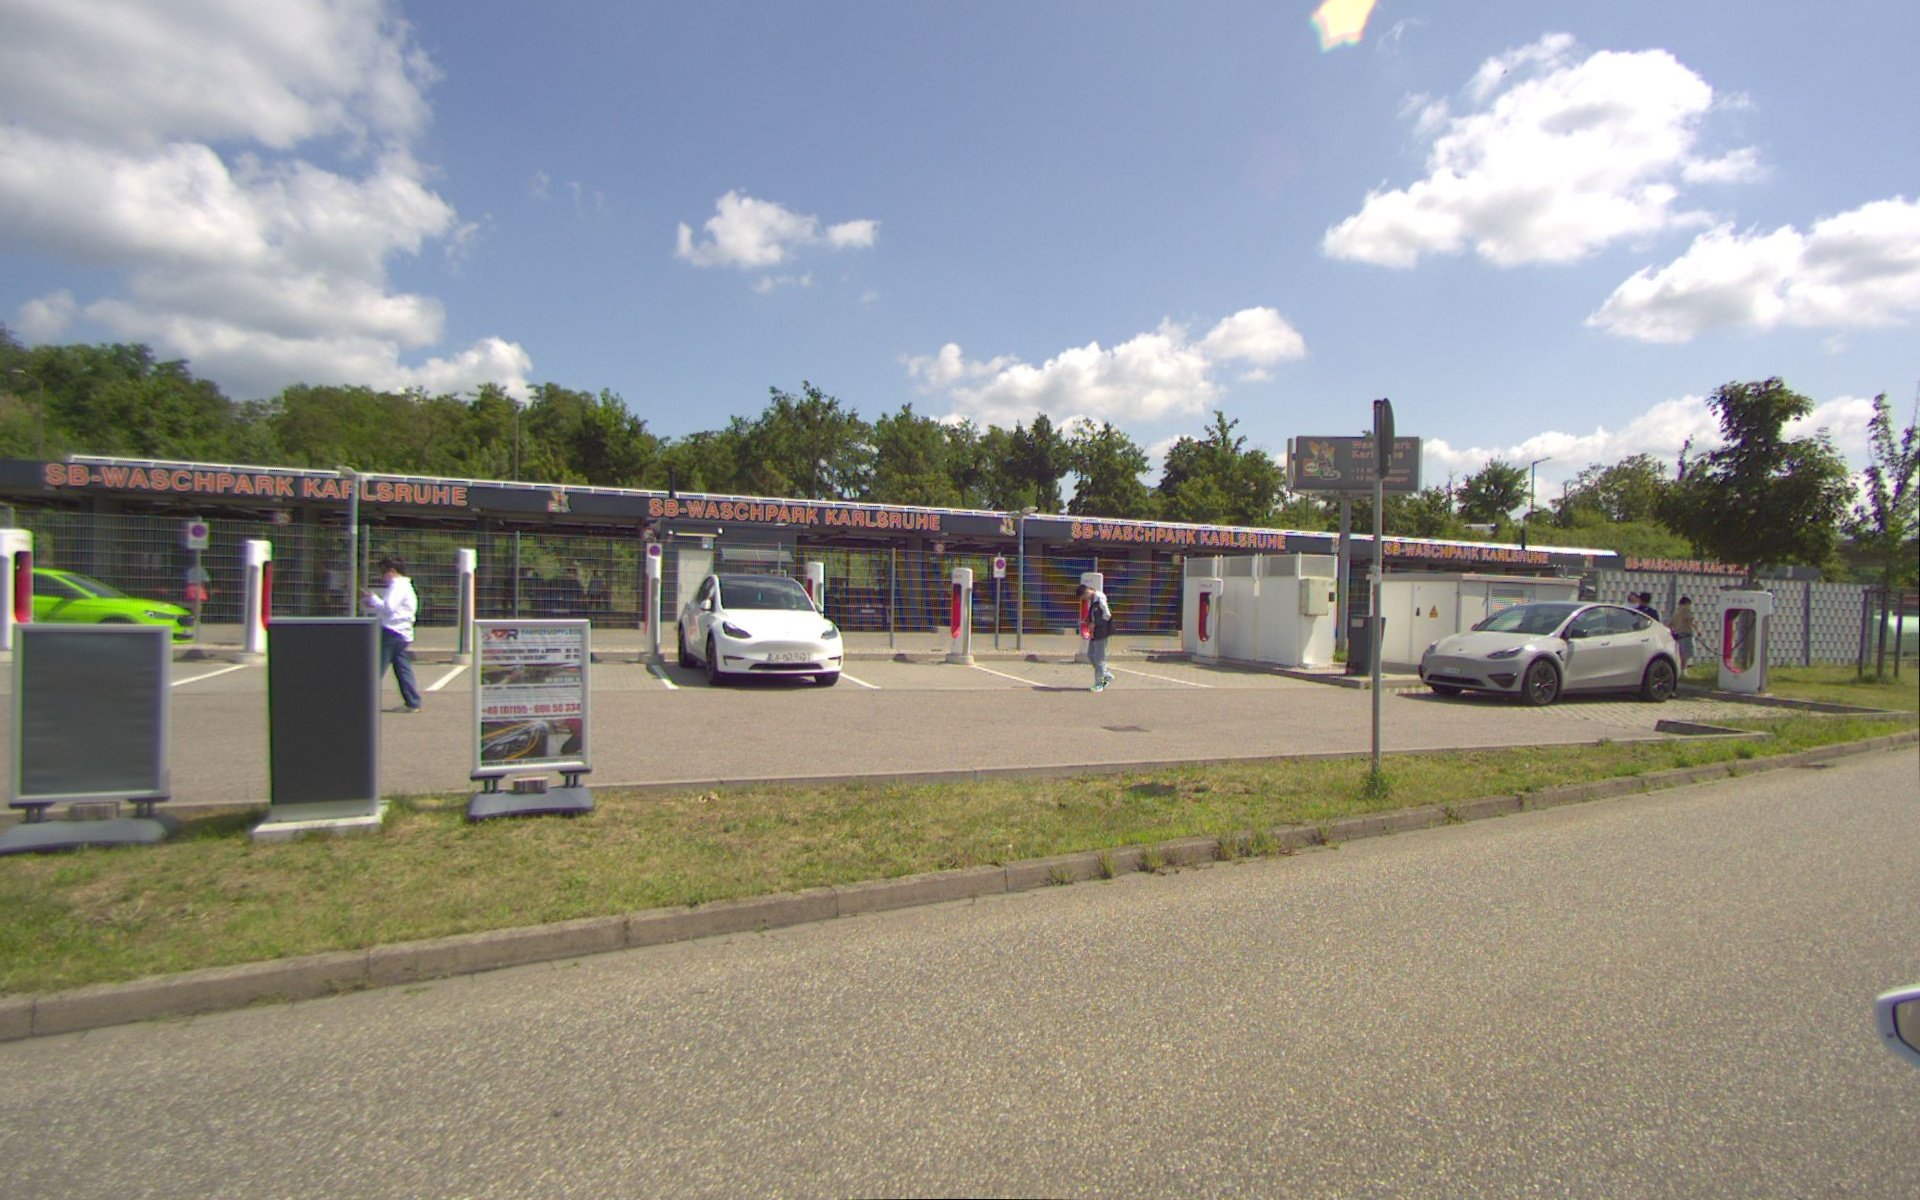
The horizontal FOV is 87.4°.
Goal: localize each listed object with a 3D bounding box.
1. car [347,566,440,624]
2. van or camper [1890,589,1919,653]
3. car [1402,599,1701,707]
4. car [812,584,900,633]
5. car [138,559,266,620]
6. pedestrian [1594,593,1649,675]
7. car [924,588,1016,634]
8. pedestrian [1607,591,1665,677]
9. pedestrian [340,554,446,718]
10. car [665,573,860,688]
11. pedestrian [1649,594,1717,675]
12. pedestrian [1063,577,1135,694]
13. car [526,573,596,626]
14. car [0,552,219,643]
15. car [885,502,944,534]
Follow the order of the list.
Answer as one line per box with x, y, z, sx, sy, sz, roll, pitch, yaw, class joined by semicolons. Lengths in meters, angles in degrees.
-17.074;-0.150;30.451;1.972;1.583;3.977;2;0;-23;car
40.413;0.851;41.885;2.166;2.547;5.665;-1;-1;45;van or camper
9.945;0.791;16.874;4.708;1.538;1.925;0;2;-24;car
-3.742;0.260;35.476;1.972;1.583;3.977;2;0;-23;car
-21.552;-0.288;28.740;1.972;1.583;3.977;2;0;-23;car
13.203;0.672;20.060;0.699;1.586;0.759;2;0;19;pedestrian
0.309;0.385;37.670;1.972;1.583;3.977;2;0;-23;car
12.999;0.650;19.328;0.707;1.600;0.714;2;0;19;pedestrian
-6.080;0.361;10.824;0.928;1.675;0.859;1;1;-26;pedestrian
-3.332;0.390;16.149;1.974;1.545;4.536;2;1;-26;car
14.359;0.673;19.957;0.803;1.562;0.736;2;0;-21;pedestrian
2.183;0.540;15.861;0.718;1.775;0.859;1;1;-27;pedestrian
-12.996;-0.025;32.621;1.972;1.583;3.977;2;0;-23;car
-16.175;-0.071;18.009;4.235;1.502;1.913;2;1;-21;car
-3.422;-6.088;75.092;3.943;2.040;1.989;2;0;-23;car
